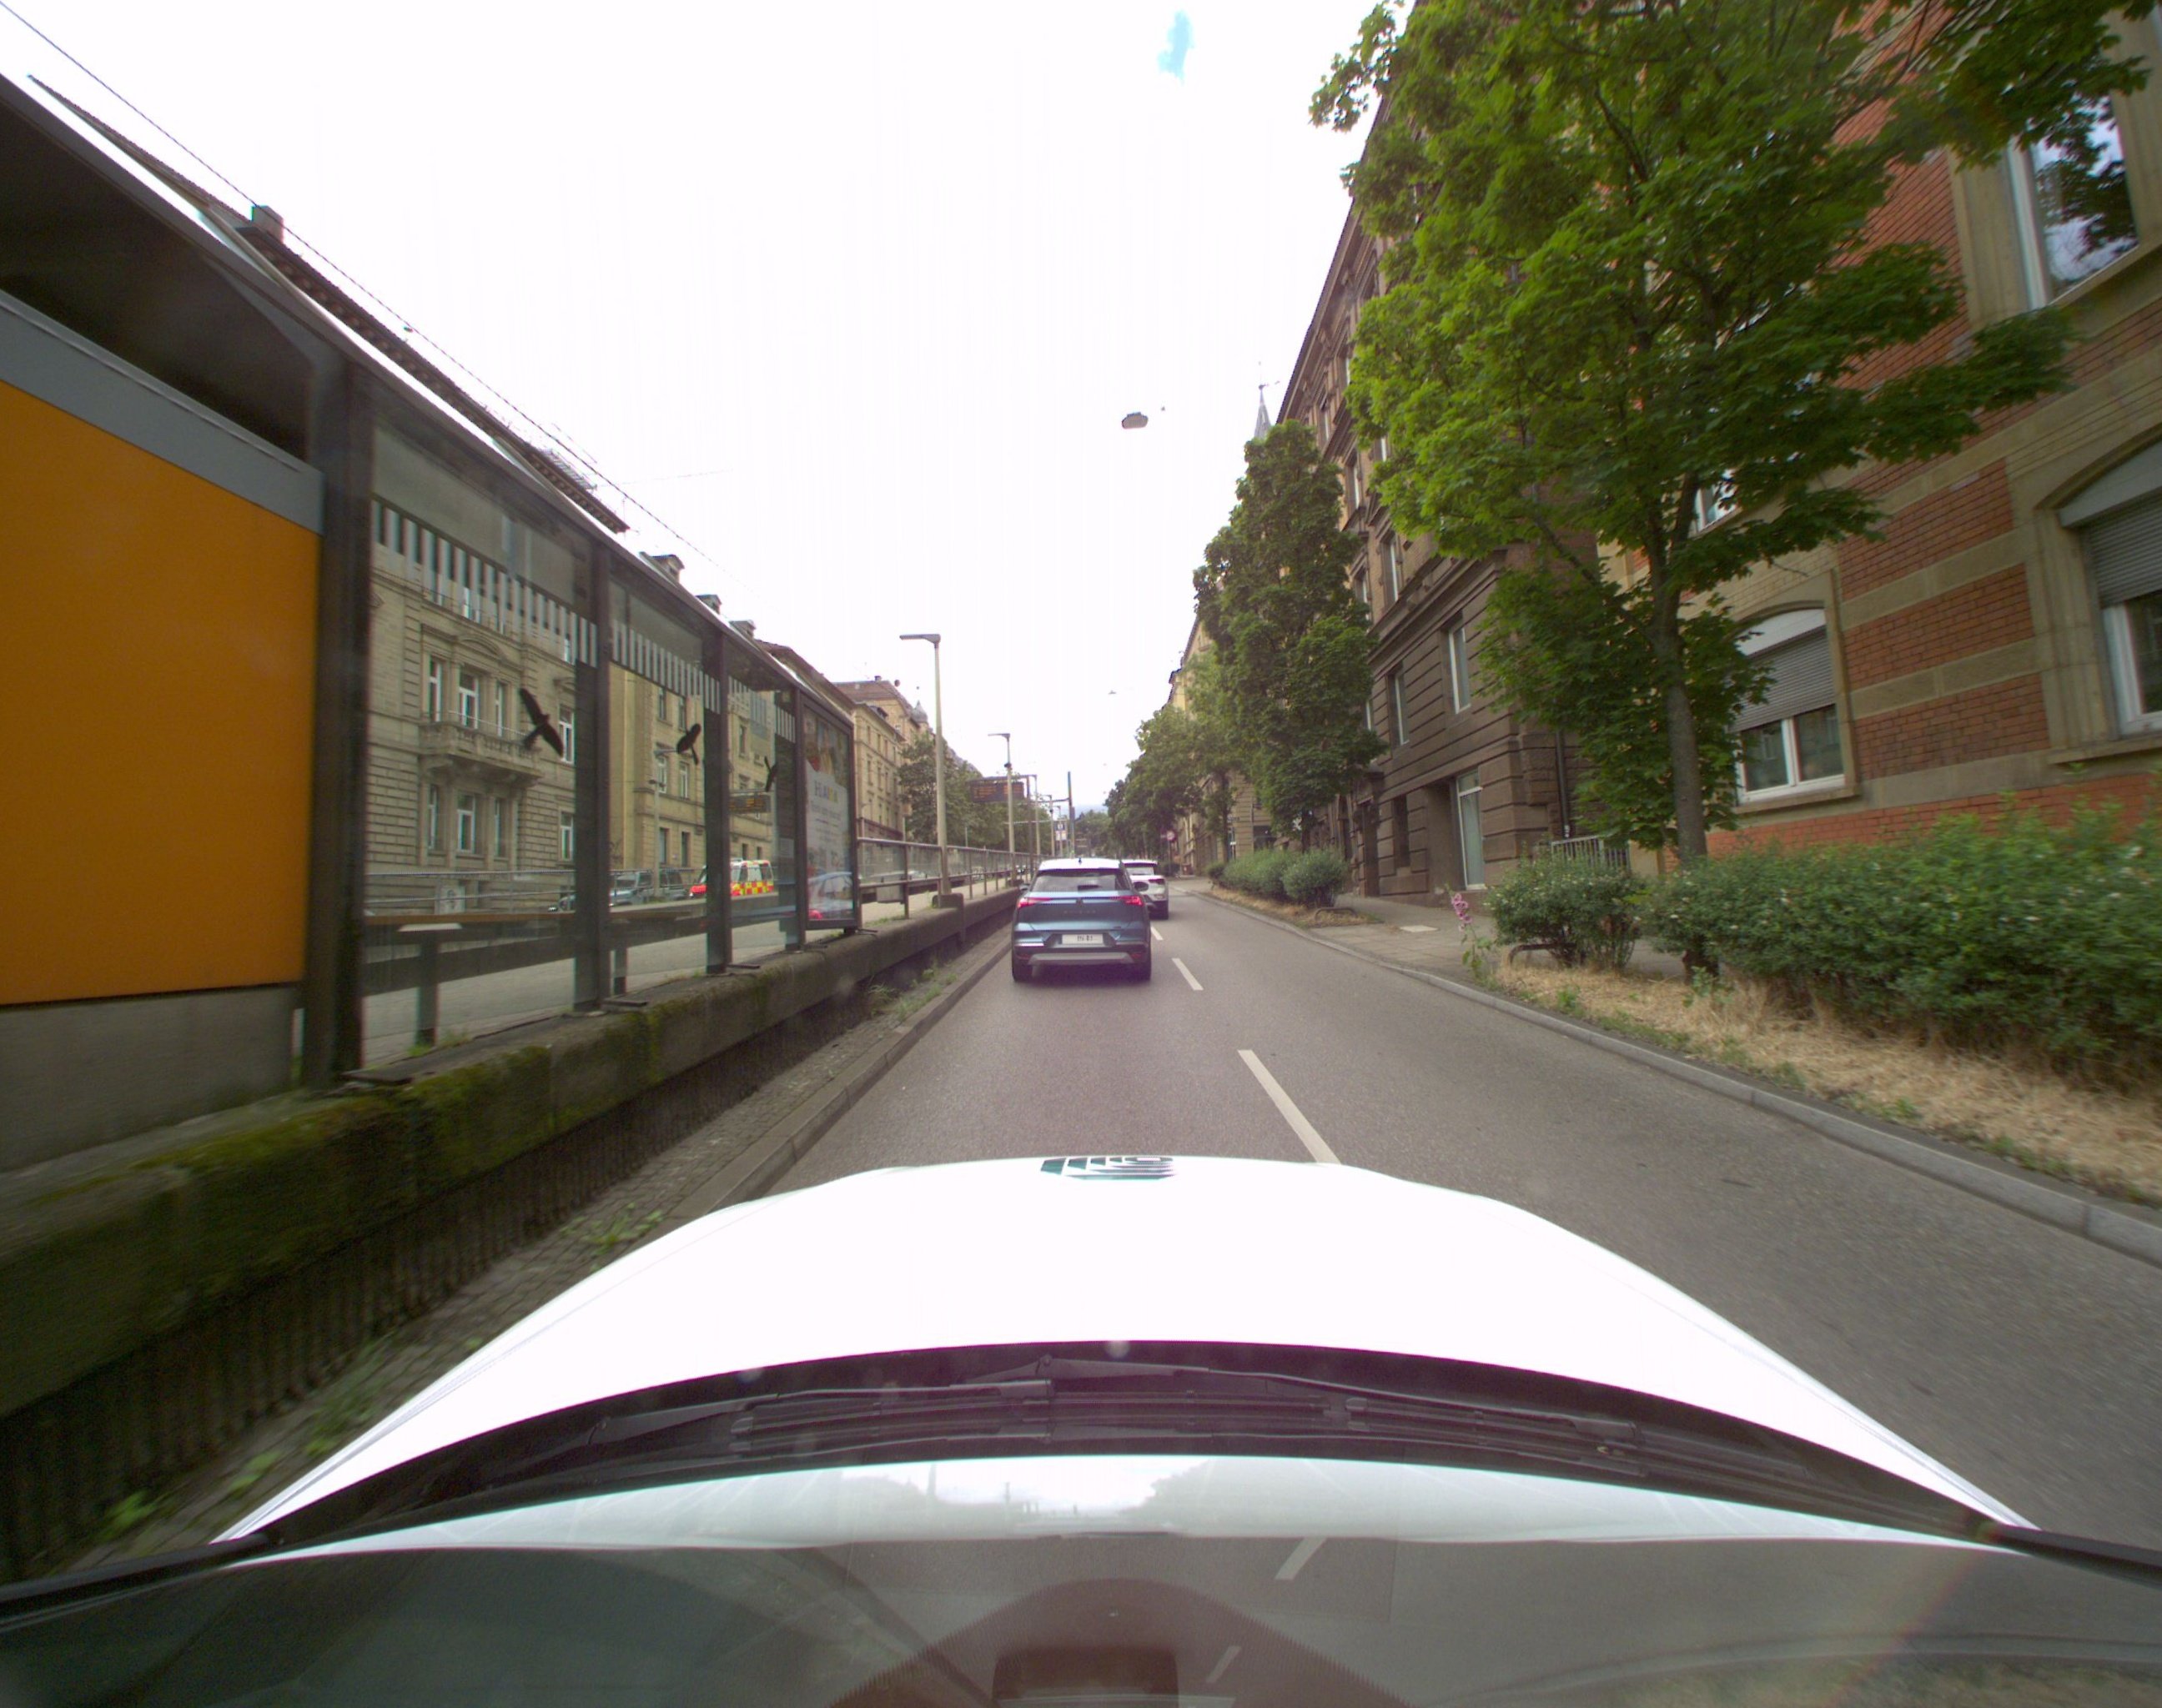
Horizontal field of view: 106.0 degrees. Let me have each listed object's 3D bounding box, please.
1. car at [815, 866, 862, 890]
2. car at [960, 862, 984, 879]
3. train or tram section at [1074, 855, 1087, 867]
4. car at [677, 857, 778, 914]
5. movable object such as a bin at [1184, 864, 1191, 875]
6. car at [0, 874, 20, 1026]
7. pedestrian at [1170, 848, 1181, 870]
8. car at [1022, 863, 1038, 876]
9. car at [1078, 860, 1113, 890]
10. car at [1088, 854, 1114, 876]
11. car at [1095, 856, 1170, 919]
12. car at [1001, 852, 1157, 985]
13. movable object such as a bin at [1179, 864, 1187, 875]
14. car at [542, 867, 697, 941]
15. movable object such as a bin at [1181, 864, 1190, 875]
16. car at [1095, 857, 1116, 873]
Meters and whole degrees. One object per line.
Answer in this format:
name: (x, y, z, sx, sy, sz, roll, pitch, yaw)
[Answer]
car: (-15.651, 1.532, 52.779, 1.762, 1.471, 4.260, -1, 0, 0)
car: (-11.725, 1.791, 87.857, 1.929, 1.679, 4.001, -3, 0, 1)
train or tram section: (-0.033, 2.102, 241.635, 2.984, 3.349, 13.445, -2, -1, 2)
car: (-15.716, 1.339, 36.601, 1.986, 2.305, 5.456, -2, -1, 1)
movable object such as a bin: (8.824, 1.295, 67.484, 0.496, 0.919, 0.446, -3, -1, 21)
car: (-13.515, 1.144, 7.710, 1.817, 1.764, 3.863, -2, 0, 0)
pedestrian: (8.247, 0.413, 70.983, 0.683, 1.829, 1.121, -4, -2, 1)
car: (-6.984, 2.119, 112.111, 1.703, 1.735, 4.578, -3, -1, 2)
car: (0.822, 1.159, 44.690, 1.829, 1.547, 4.195, -1, -1, 2)
car: (1.516, 0.841, 59.958, 1.829, 1.547, 4.195, -1, -1, 2)
car: (1.474, 0.862, 22.382, 1.827, 1.547, 4.199, -1, -1, 5)
car: (0.040, 0.801, 11.727, 1.829, 1.547, 4.195, -1, -1, 2)
movable object such as a bin: (8.628, 1.310, 68.732, 0.609, 0.919, 0.493, -4, -1, 3)
car: (-13.447, 1.375, 24.079, 1.987, 1.895, 4.414, -2, -1, 0)
movable object such as a bin: (8.738, 1.305, 68.140, 0.504, 0.919, 0.487, -3, -2, -40)
car: (2.568, 1.153, 84.226, 2.059, 1.547, 4.196, -1, -1, 3)
